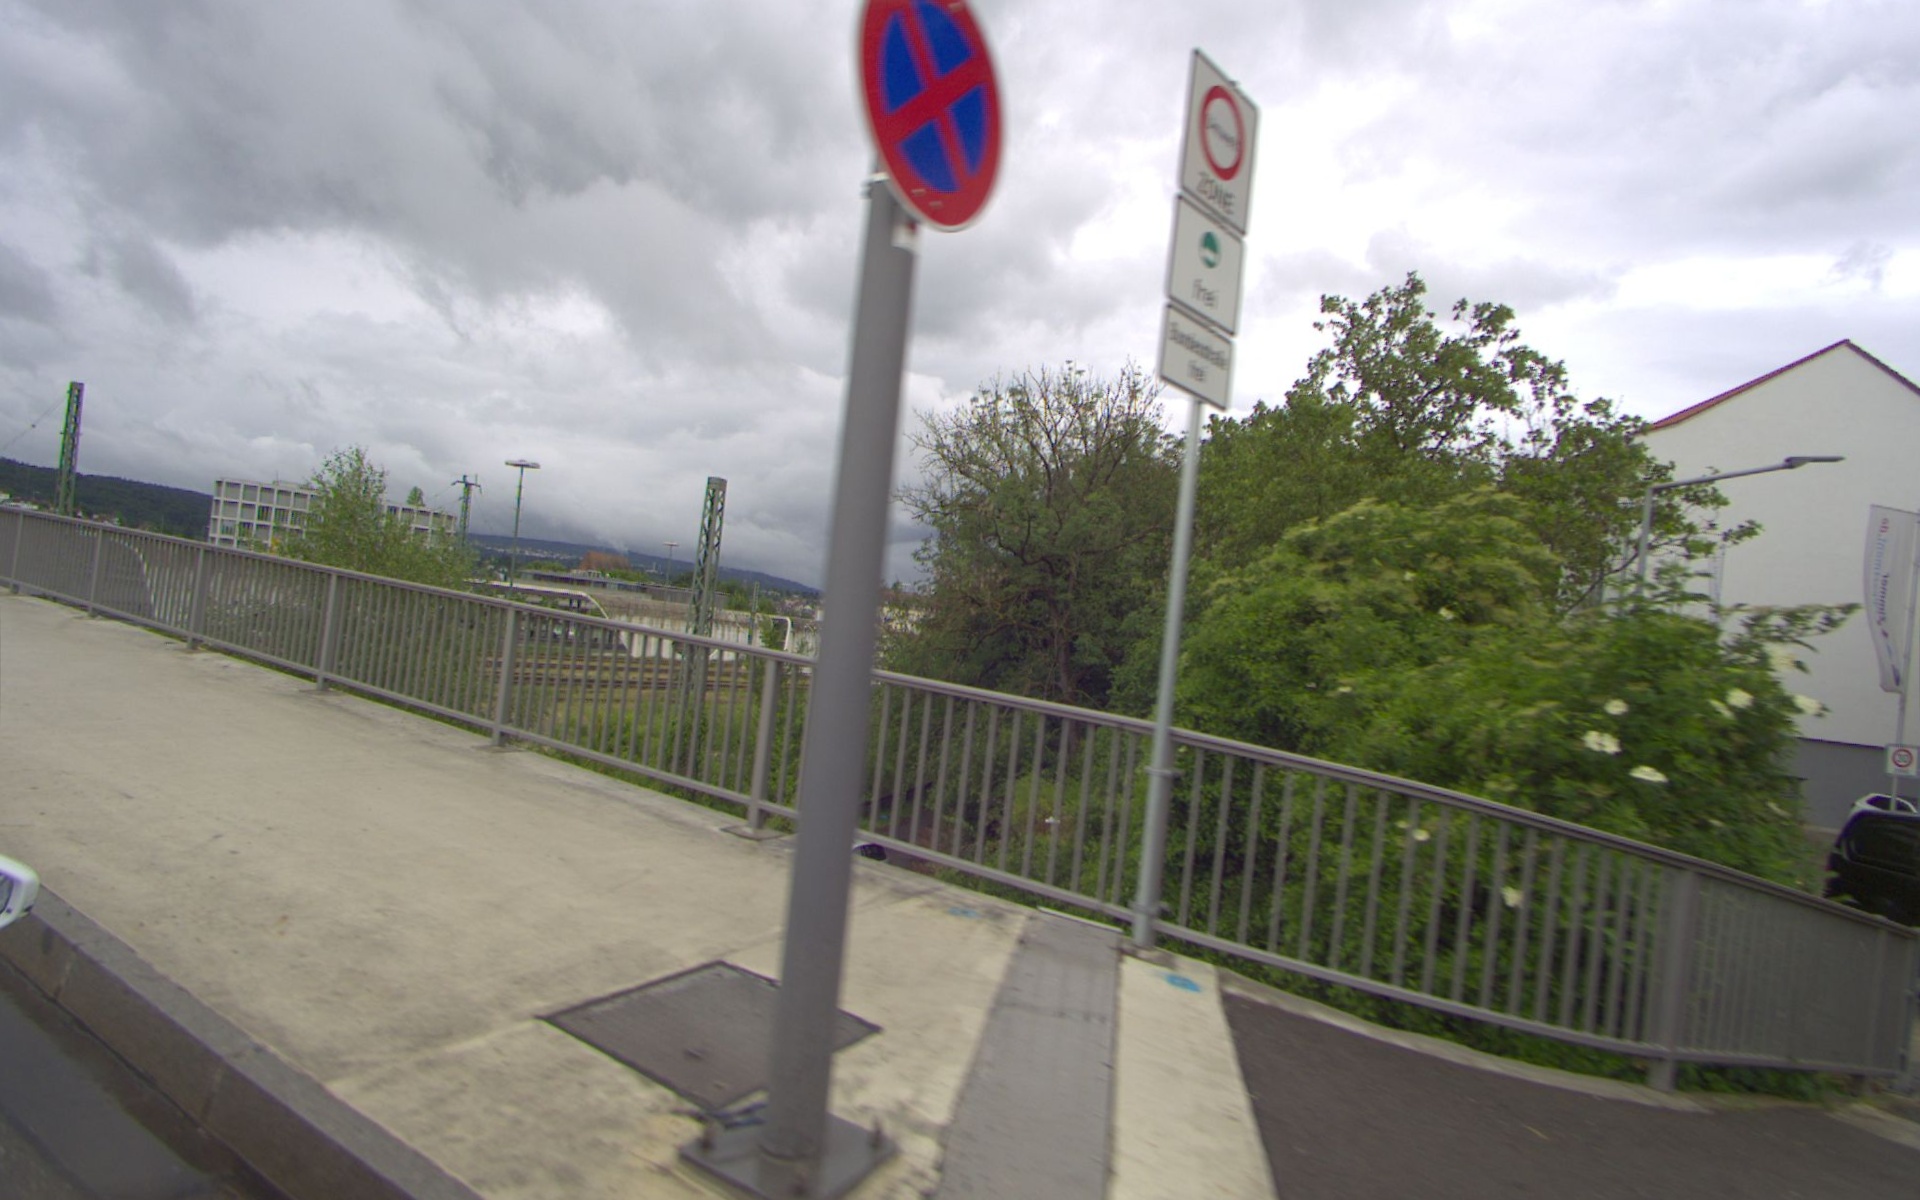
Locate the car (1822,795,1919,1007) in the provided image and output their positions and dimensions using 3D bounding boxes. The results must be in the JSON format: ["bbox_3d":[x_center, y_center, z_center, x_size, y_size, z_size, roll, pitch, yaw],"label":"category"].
[{"bbox_3d":[10.655,3.087,9.151,1.961,2.033,4.773,5,-6,8],"label":"car"}]

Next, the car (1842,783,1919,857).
[{"bbox_3d":[27.881,6.452,28.729,1.962,1.572,3.999,4,1,5],"label":"car"}]
